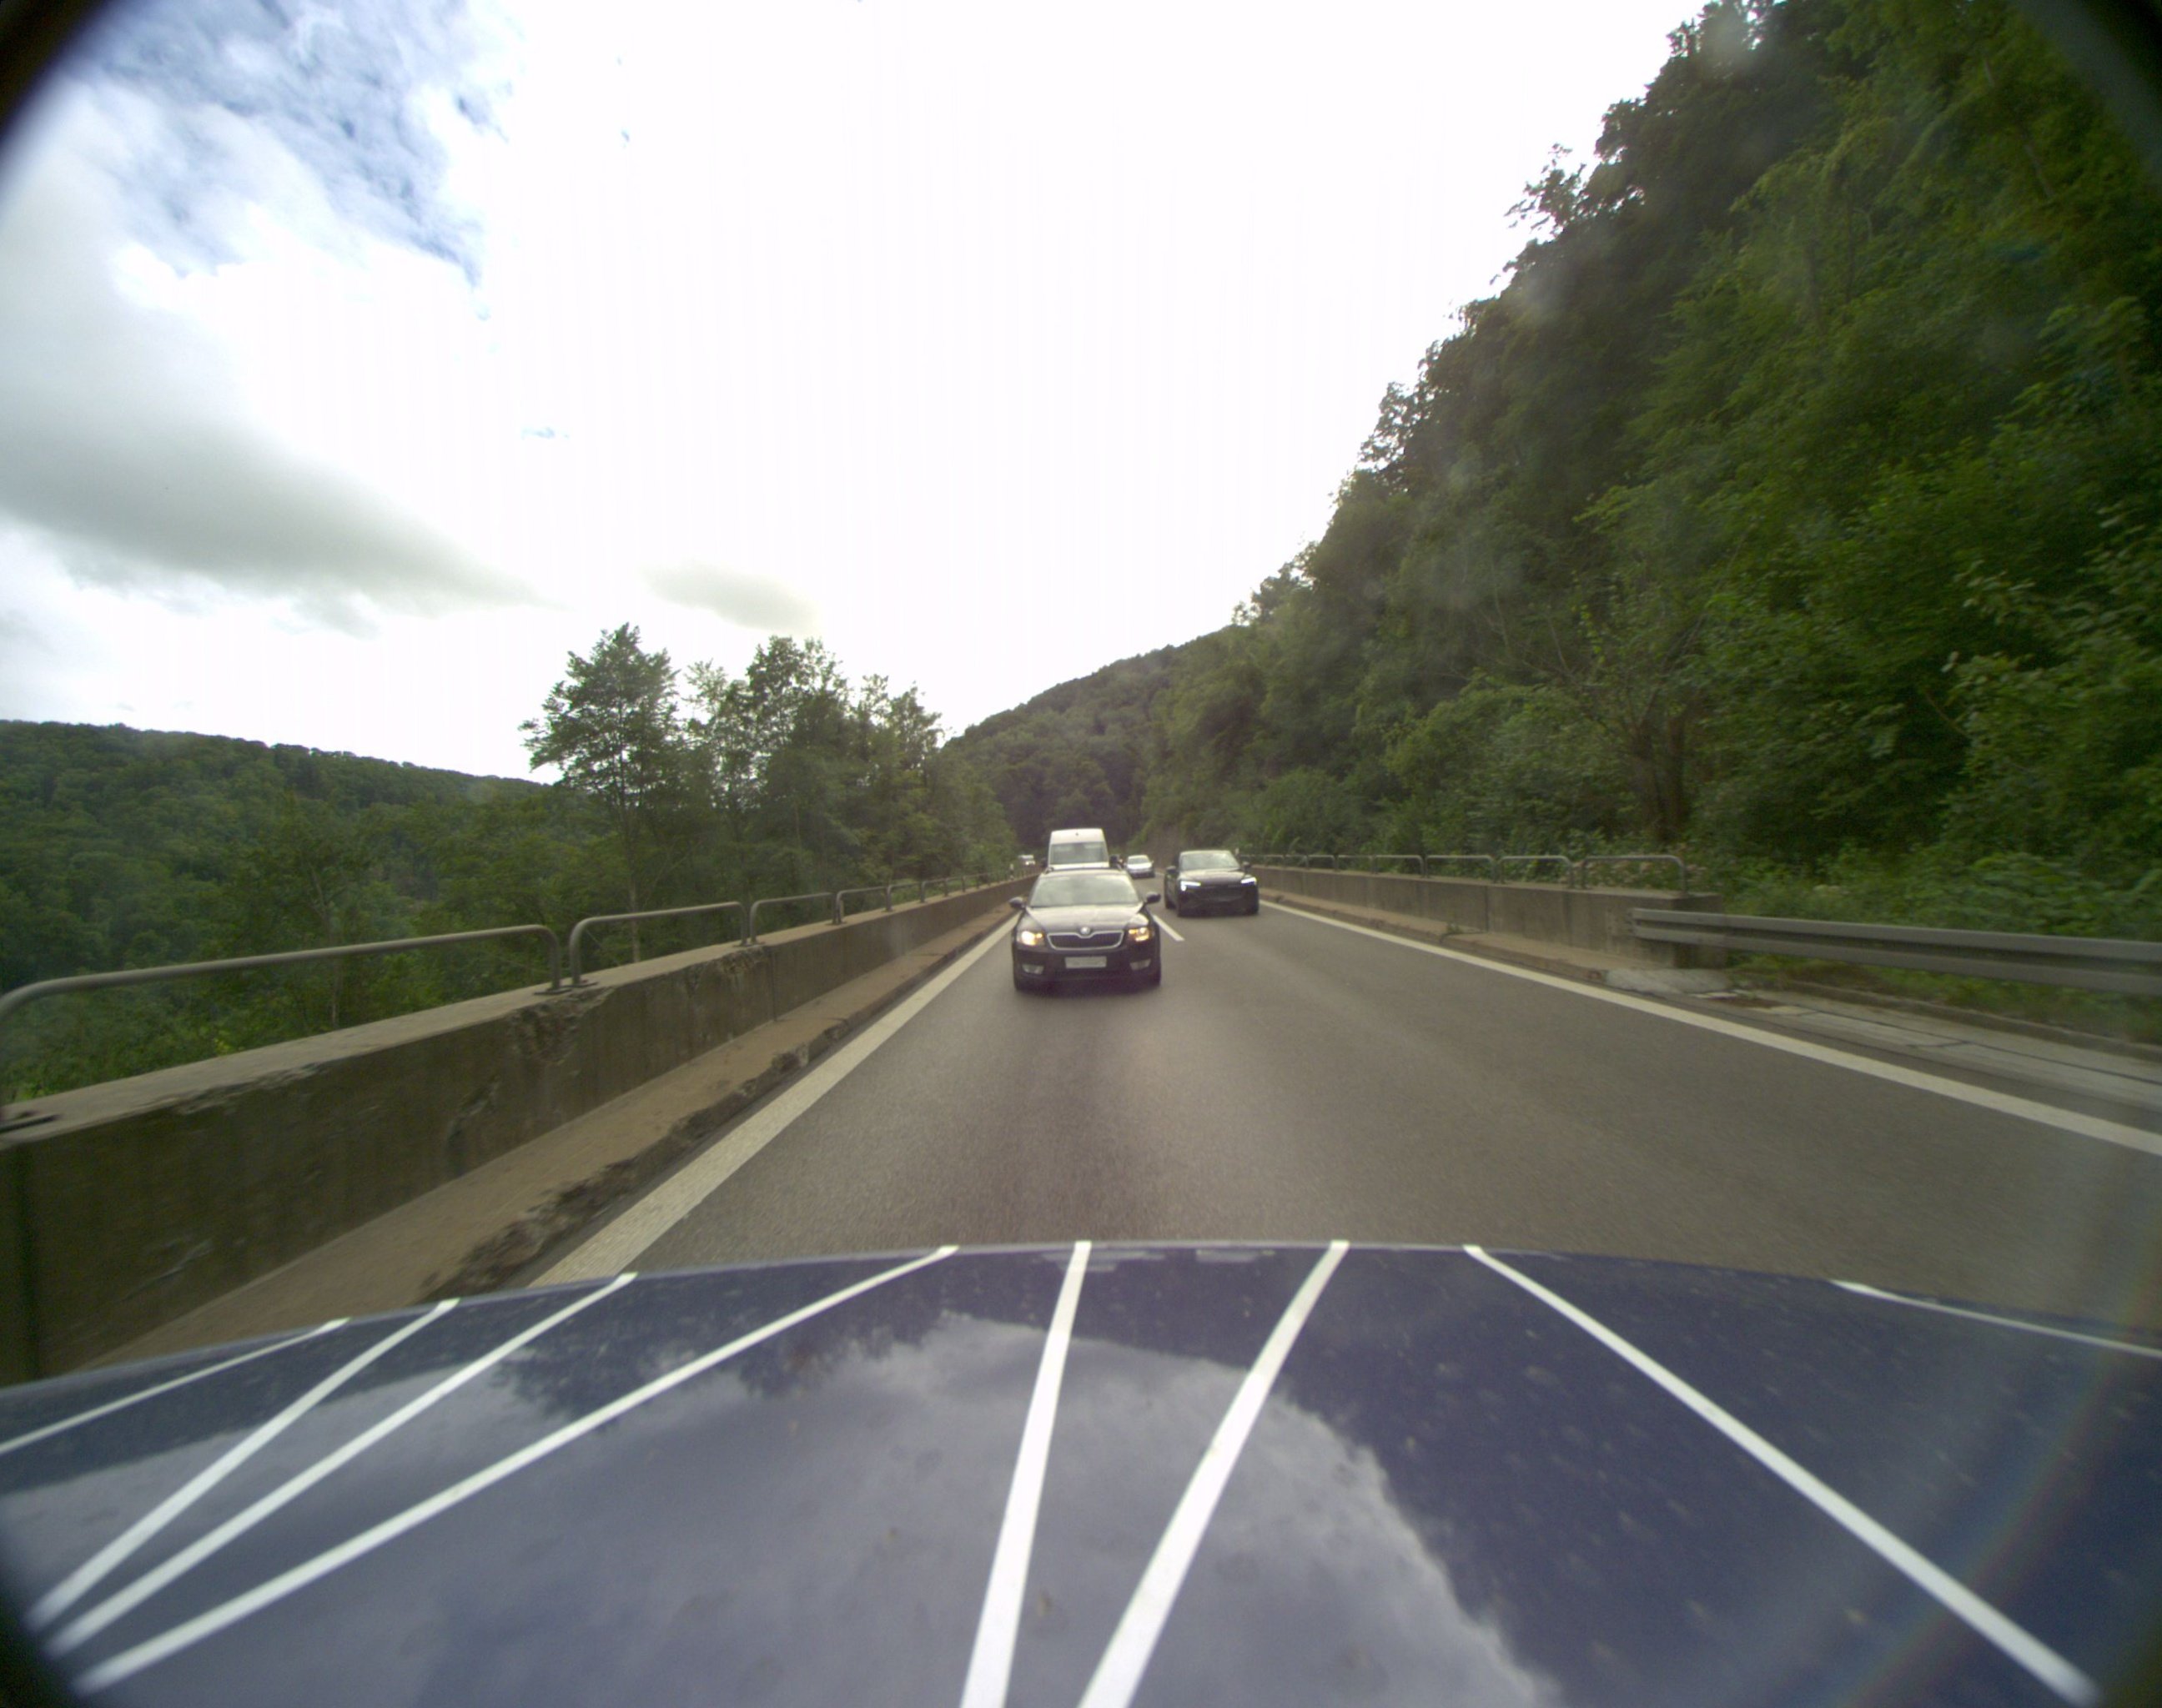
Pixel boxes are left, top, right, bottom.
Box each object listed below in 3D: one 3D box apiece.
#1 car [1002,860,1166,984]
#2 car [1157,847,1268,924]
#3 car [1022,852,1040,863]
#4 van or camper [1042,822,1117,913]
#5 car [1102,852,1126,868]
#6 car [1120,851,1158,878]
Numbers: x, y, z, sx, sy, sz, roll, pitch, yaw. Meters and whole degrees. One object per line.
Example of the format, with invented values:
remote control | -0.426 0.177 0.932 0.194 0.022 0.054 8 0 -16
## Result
car | 0.070 0.897 12.255 1.998 1.389 5.008 -5 0 1
car | 3.284 0.716 20.024 1.998 1.622 5.008 -4 0 1
car | -10.773 0.716 163.026 2.003 2.002 3.991 -6 2 -35
van or camper | 0.007 0.425 25.642 2.081 2.575 5.912 -4 0 1
car | 3.646 0.666 84.475 1.814 1.646 4.580 -4 1 -8
car | 3.692 0.646 48.828 1.686 1.506 4.581 -6 0 -3
